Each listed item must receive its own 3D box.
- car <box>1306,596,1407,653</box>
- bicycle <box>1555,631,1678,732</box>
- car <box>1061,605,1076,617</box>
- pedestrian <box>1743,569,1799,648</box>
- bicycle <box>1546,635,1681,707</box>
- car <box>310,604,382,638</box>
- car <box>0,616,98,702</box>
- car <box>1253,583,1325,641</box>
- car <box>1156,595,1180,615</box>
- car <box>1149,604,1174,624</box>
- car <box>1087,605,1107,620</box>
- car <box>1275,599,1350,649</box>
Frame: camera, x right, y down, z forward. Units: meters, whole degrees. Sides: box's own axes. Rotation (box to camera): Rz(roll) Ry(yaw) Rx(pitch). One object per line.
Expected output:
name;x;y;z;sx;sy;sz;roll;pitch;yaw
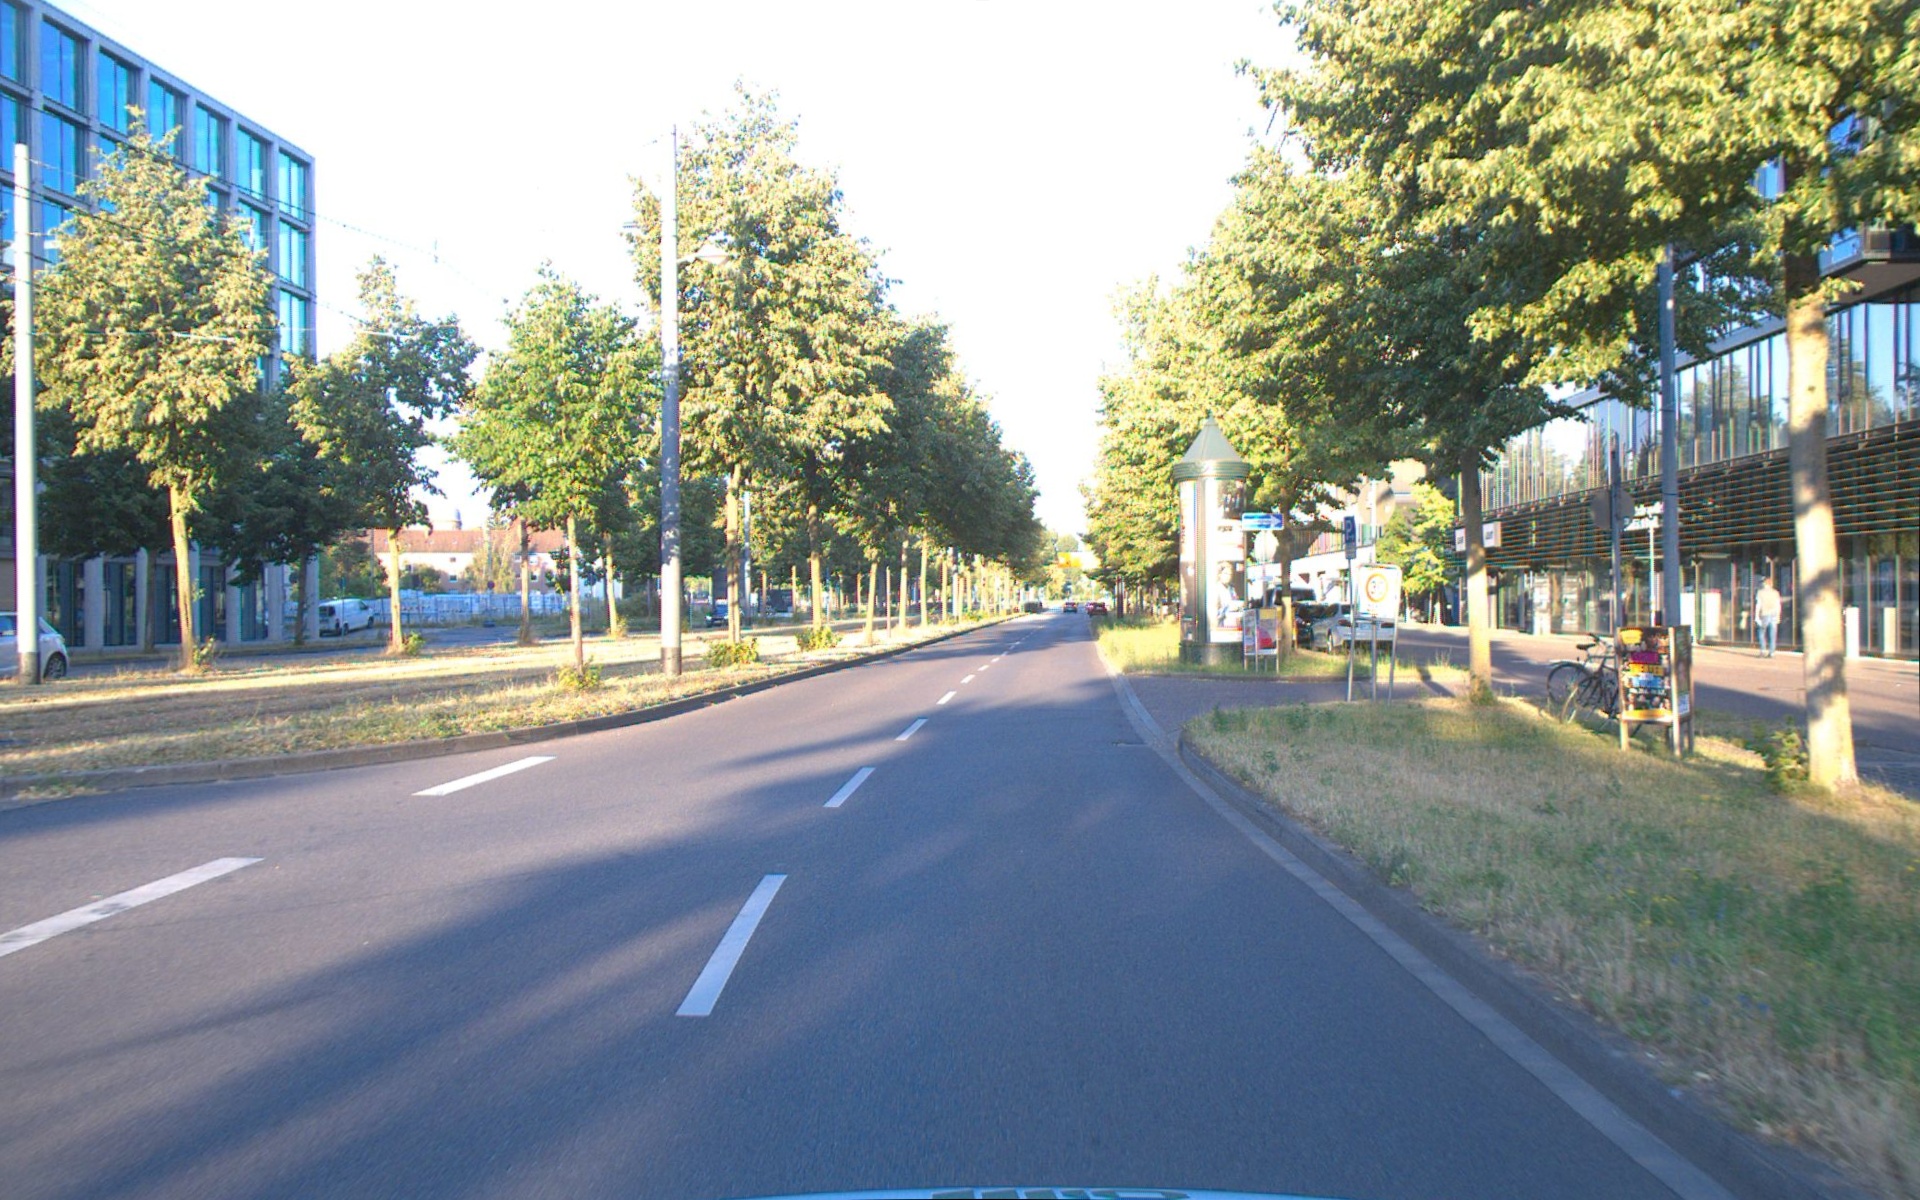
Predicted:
car;11.268;0.684;47.354;1.877;1.523;5.043;1;0;2
bicycle;7.102;0.862;17.970;0.567;1.012;1.685;-1;0;-4
car;13.761;1.415;210.199;1.871;1.512;4.002;0;-1;3
pedestrian;19.019;0.198;38.811;0.878;1.828;0.913;-1;0;3
bicycle;8.964;0.962;22.722;1.690;0.926;0.361;0;0;38
car;-37.663;1.276;101.625;2.160;2.049;5.086;-1;0;4
car;-17.890;1.067;30.069;1.863;1.511;4.632;-1;0;2
car;12.035;0.445;60.822;1.944;2.024;4.934;1;0;4
car;18.265;0.474;145.413;1.951;1.671;4.881;0;-1;5
car;19.257;1.310;158.020;1.952;1.884;4.666;0;-1;2
car;13.591;1.249;163.886;1.871;1.512;4.002;0;-1;3
car;11.342;0.754;53.431;1.820;1.523;4.292;-1;0;5
